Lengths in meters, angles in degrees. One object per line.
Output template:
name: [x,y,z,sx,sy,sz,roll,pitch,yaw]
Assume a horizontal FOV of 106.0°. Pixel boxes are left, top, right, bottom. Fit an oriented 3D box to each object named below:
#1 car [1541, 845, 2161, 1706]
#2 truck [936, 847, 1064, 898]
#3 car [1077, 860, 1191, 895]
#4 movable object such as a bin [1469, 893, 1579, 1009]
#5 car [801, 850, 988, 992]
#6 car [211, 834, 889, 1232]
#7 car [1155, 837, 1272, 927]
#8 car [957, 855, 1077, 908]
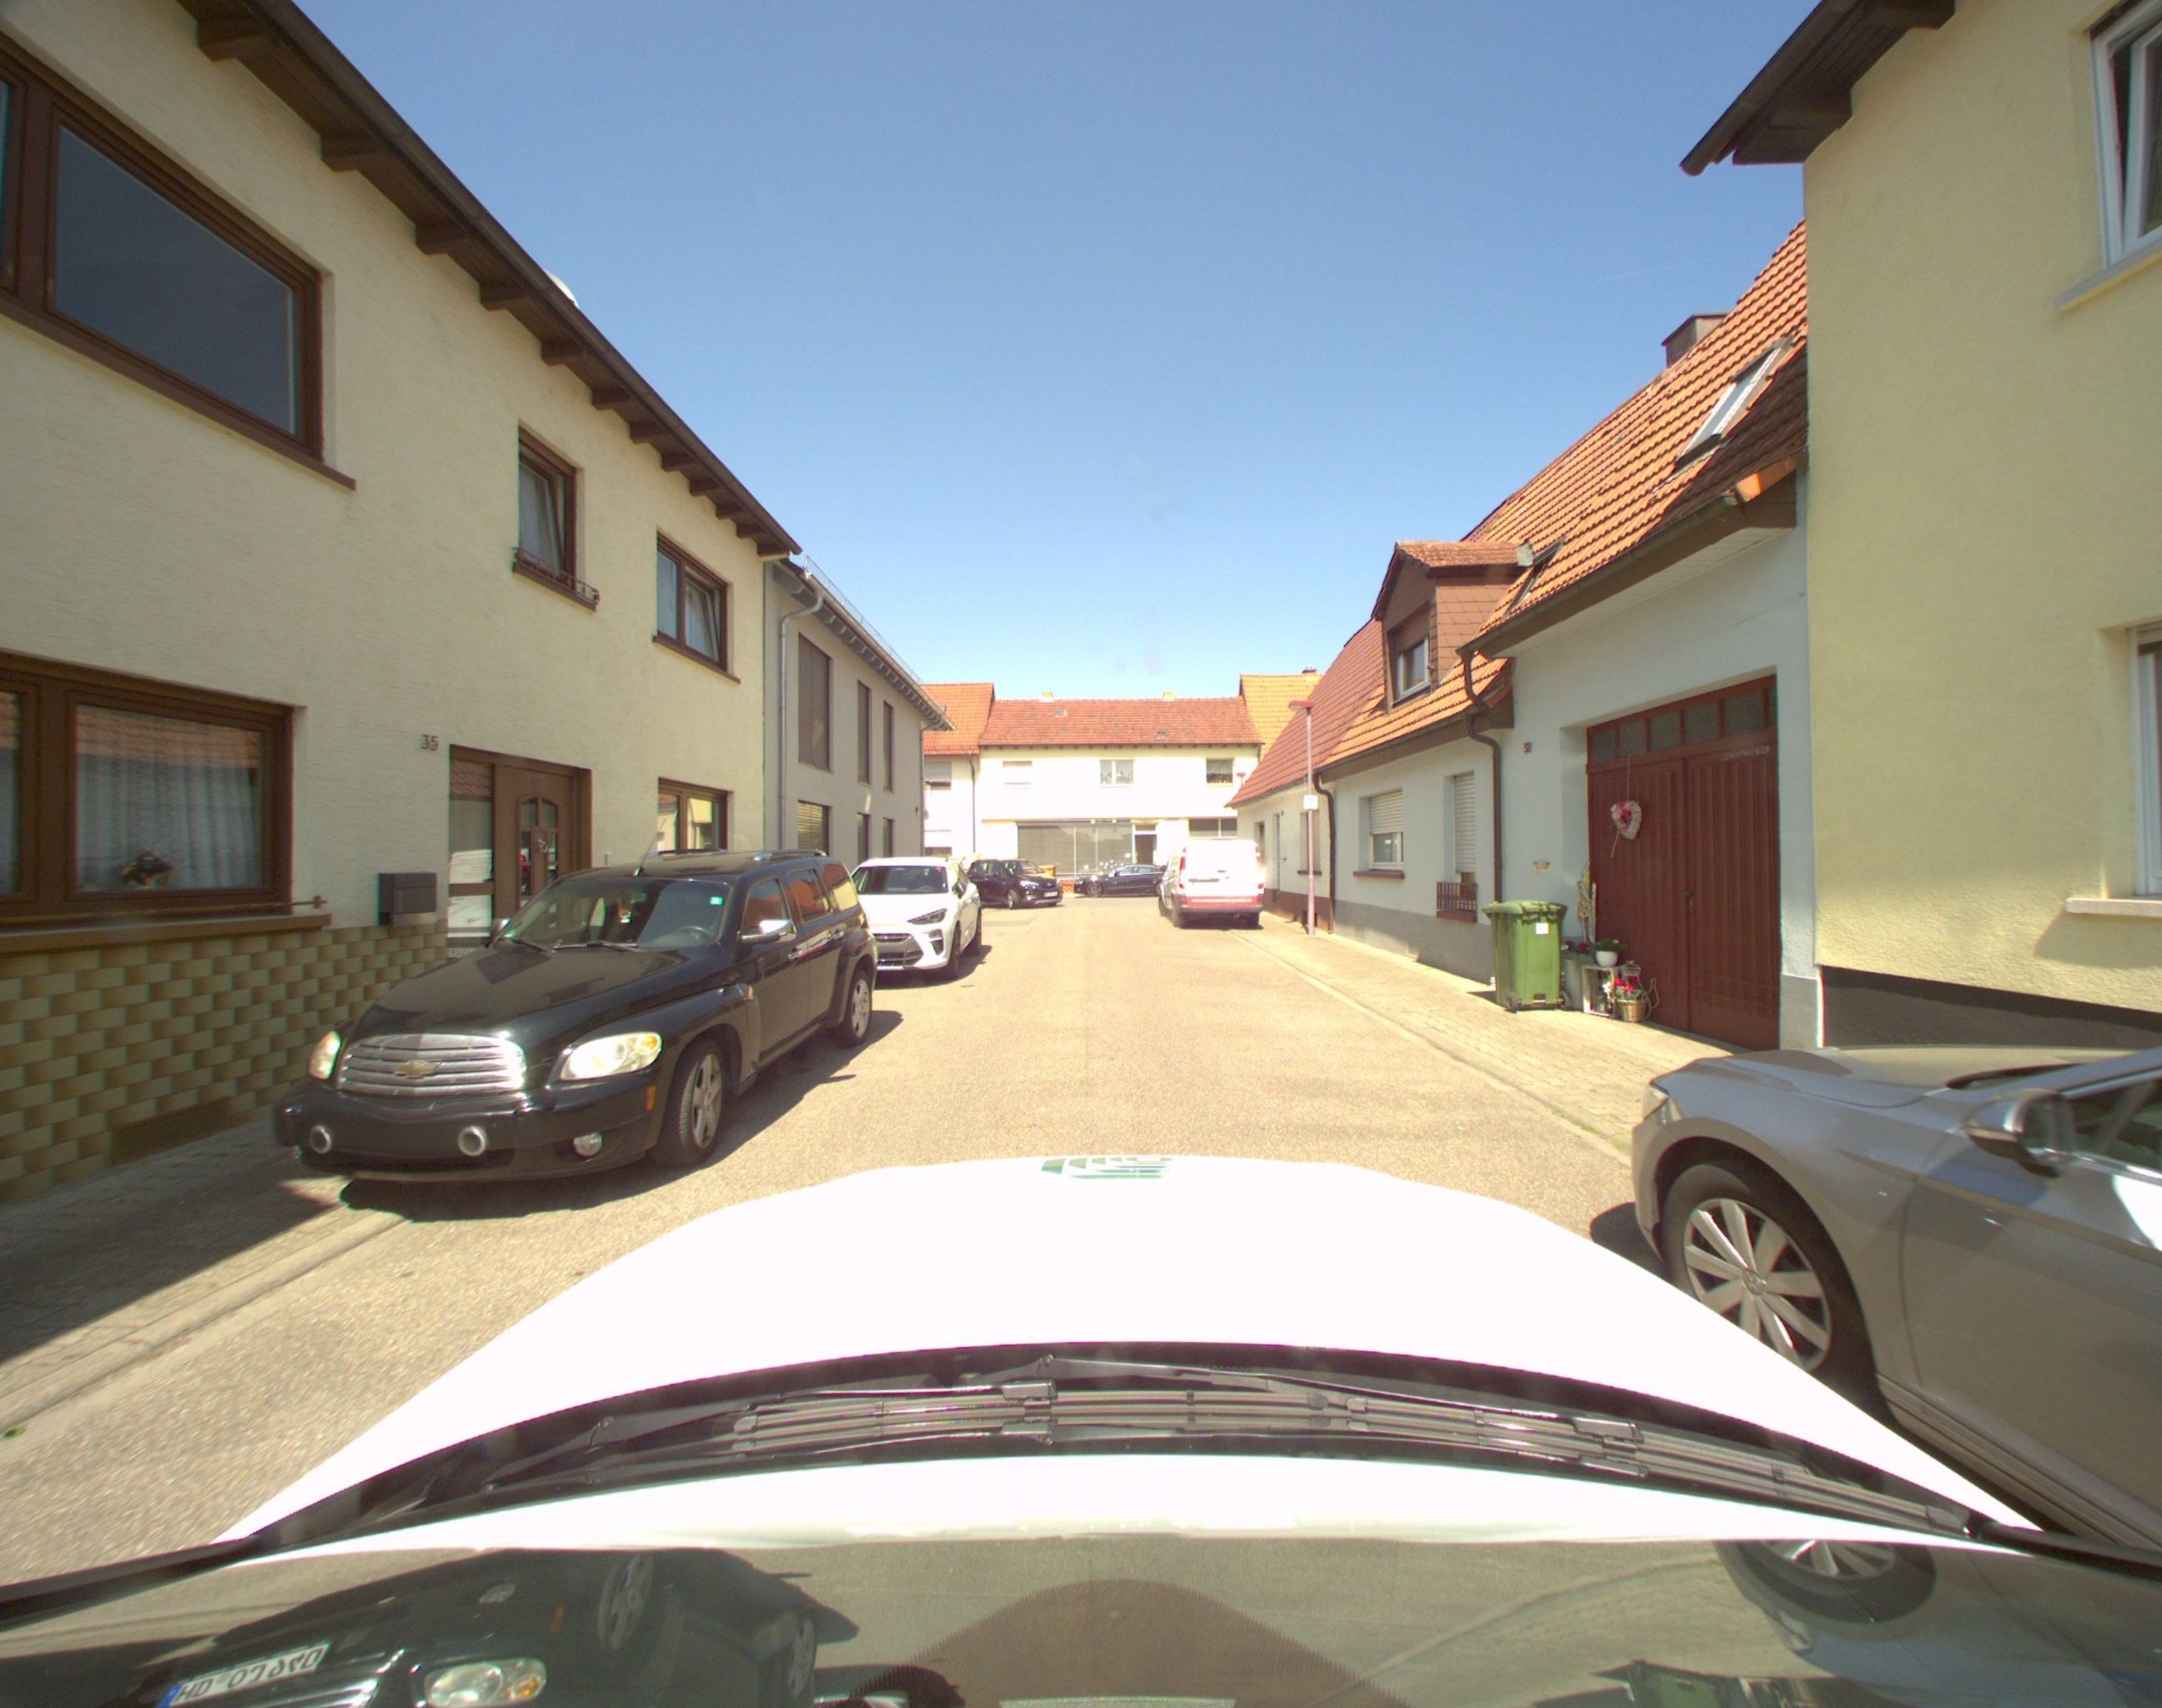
car: [2.745,0.713,0.846,1.833,1.448,4.774,1,-1,0]
truck: [-3.272,0.762,33.801,5.046,2.014,2.189,0,-1,0]
car: [2.130,1.004,33.799,4.603,1.394,1.927,0,-4,-1]
movable object such as a bin: [4.454,0.950,8.231,0.656,1.071,0.812,-1,0,-1]
car: [-2.441,0.809,11.763,1.769,1.615,4.346,-1,-1,-2]
car: [-2.687,0.761,5.376,1.715,1.615,3.991,-1,-1,2]
car: [2.972,0.602,19.482,2.006,1.839,5.265,1,-1,1]
car: [-2.195,0.885,27.046,1.772,1.583,4.230,-1,0,-41]
